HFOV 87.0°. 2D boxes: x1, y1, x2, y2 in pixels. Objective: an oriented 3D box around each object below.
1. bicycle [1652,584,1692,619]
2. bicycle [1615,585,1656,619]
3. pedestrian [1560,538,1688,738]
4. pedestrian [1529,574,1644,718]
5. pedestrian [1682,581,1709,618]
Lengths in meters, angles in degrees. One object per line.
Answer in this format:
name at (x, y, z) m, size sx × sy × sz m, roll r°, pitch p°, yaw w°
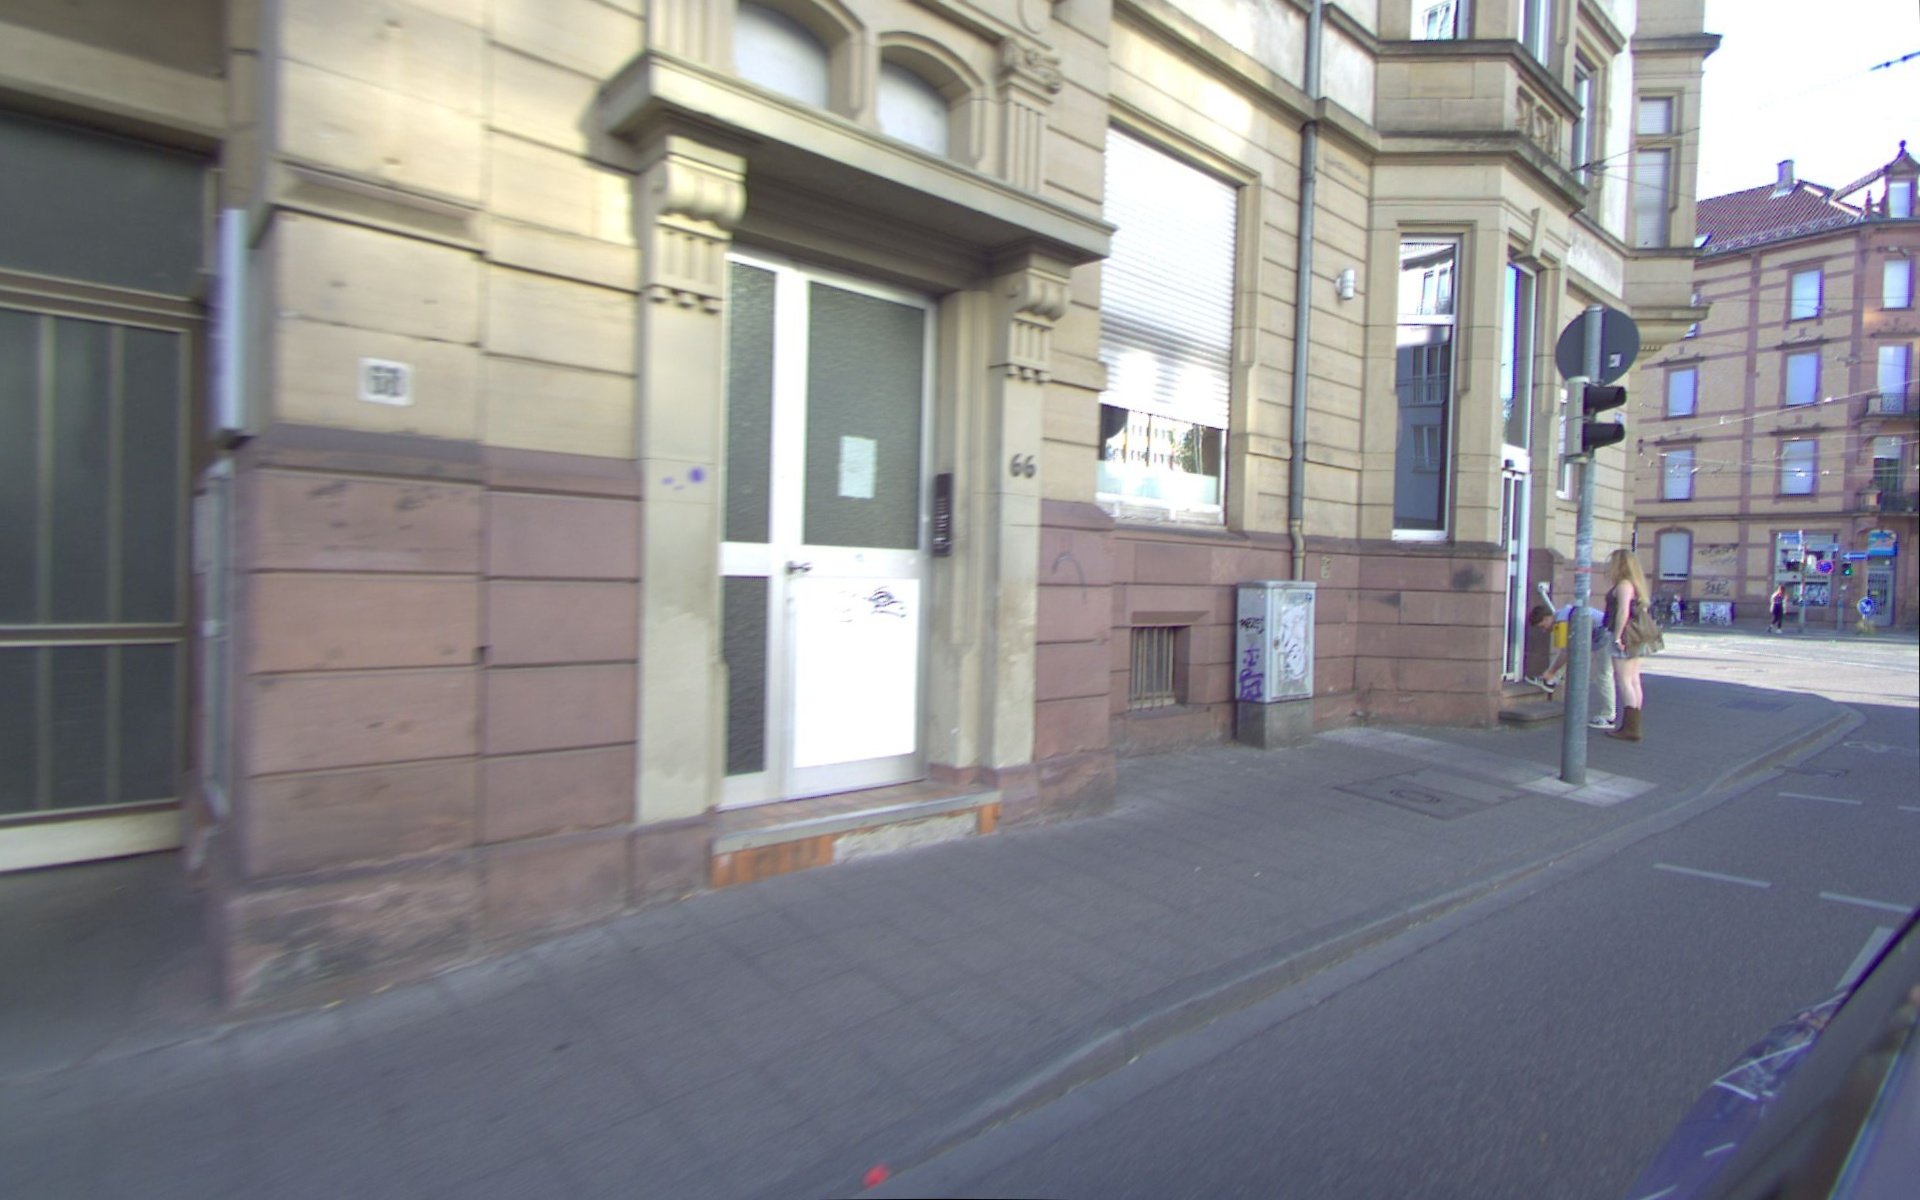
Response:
bicycle at (28.183, 0.068, 40.054) m, size 1.800 × 1.279 × 0.756 m, roll 4°, pitch -2°, yaw -37°
bicycle at (27.554, 0.080, 41.265) m, size 1.931 × 1.279 × 0.756 m, roll 4°, pitch -2°, yaw -37°
pedestrian at (6.104, 0.305, 9.316) m, size 0.707 × 1.742 × 0.795 m, roll -2°, pitch 3°, yaw -42°
pedestrian at (6.322, 0.430, 10.223) m, size 0.707 × 1.347 × 0.795 m, roll -2°, pitch 3°, yaw -42°
pedestrian at (33.377, -0.034, 45.916) m, size 0.749 × 1.589 × 0.745 m, roll -6°, pitch 3°, yaw -34°
